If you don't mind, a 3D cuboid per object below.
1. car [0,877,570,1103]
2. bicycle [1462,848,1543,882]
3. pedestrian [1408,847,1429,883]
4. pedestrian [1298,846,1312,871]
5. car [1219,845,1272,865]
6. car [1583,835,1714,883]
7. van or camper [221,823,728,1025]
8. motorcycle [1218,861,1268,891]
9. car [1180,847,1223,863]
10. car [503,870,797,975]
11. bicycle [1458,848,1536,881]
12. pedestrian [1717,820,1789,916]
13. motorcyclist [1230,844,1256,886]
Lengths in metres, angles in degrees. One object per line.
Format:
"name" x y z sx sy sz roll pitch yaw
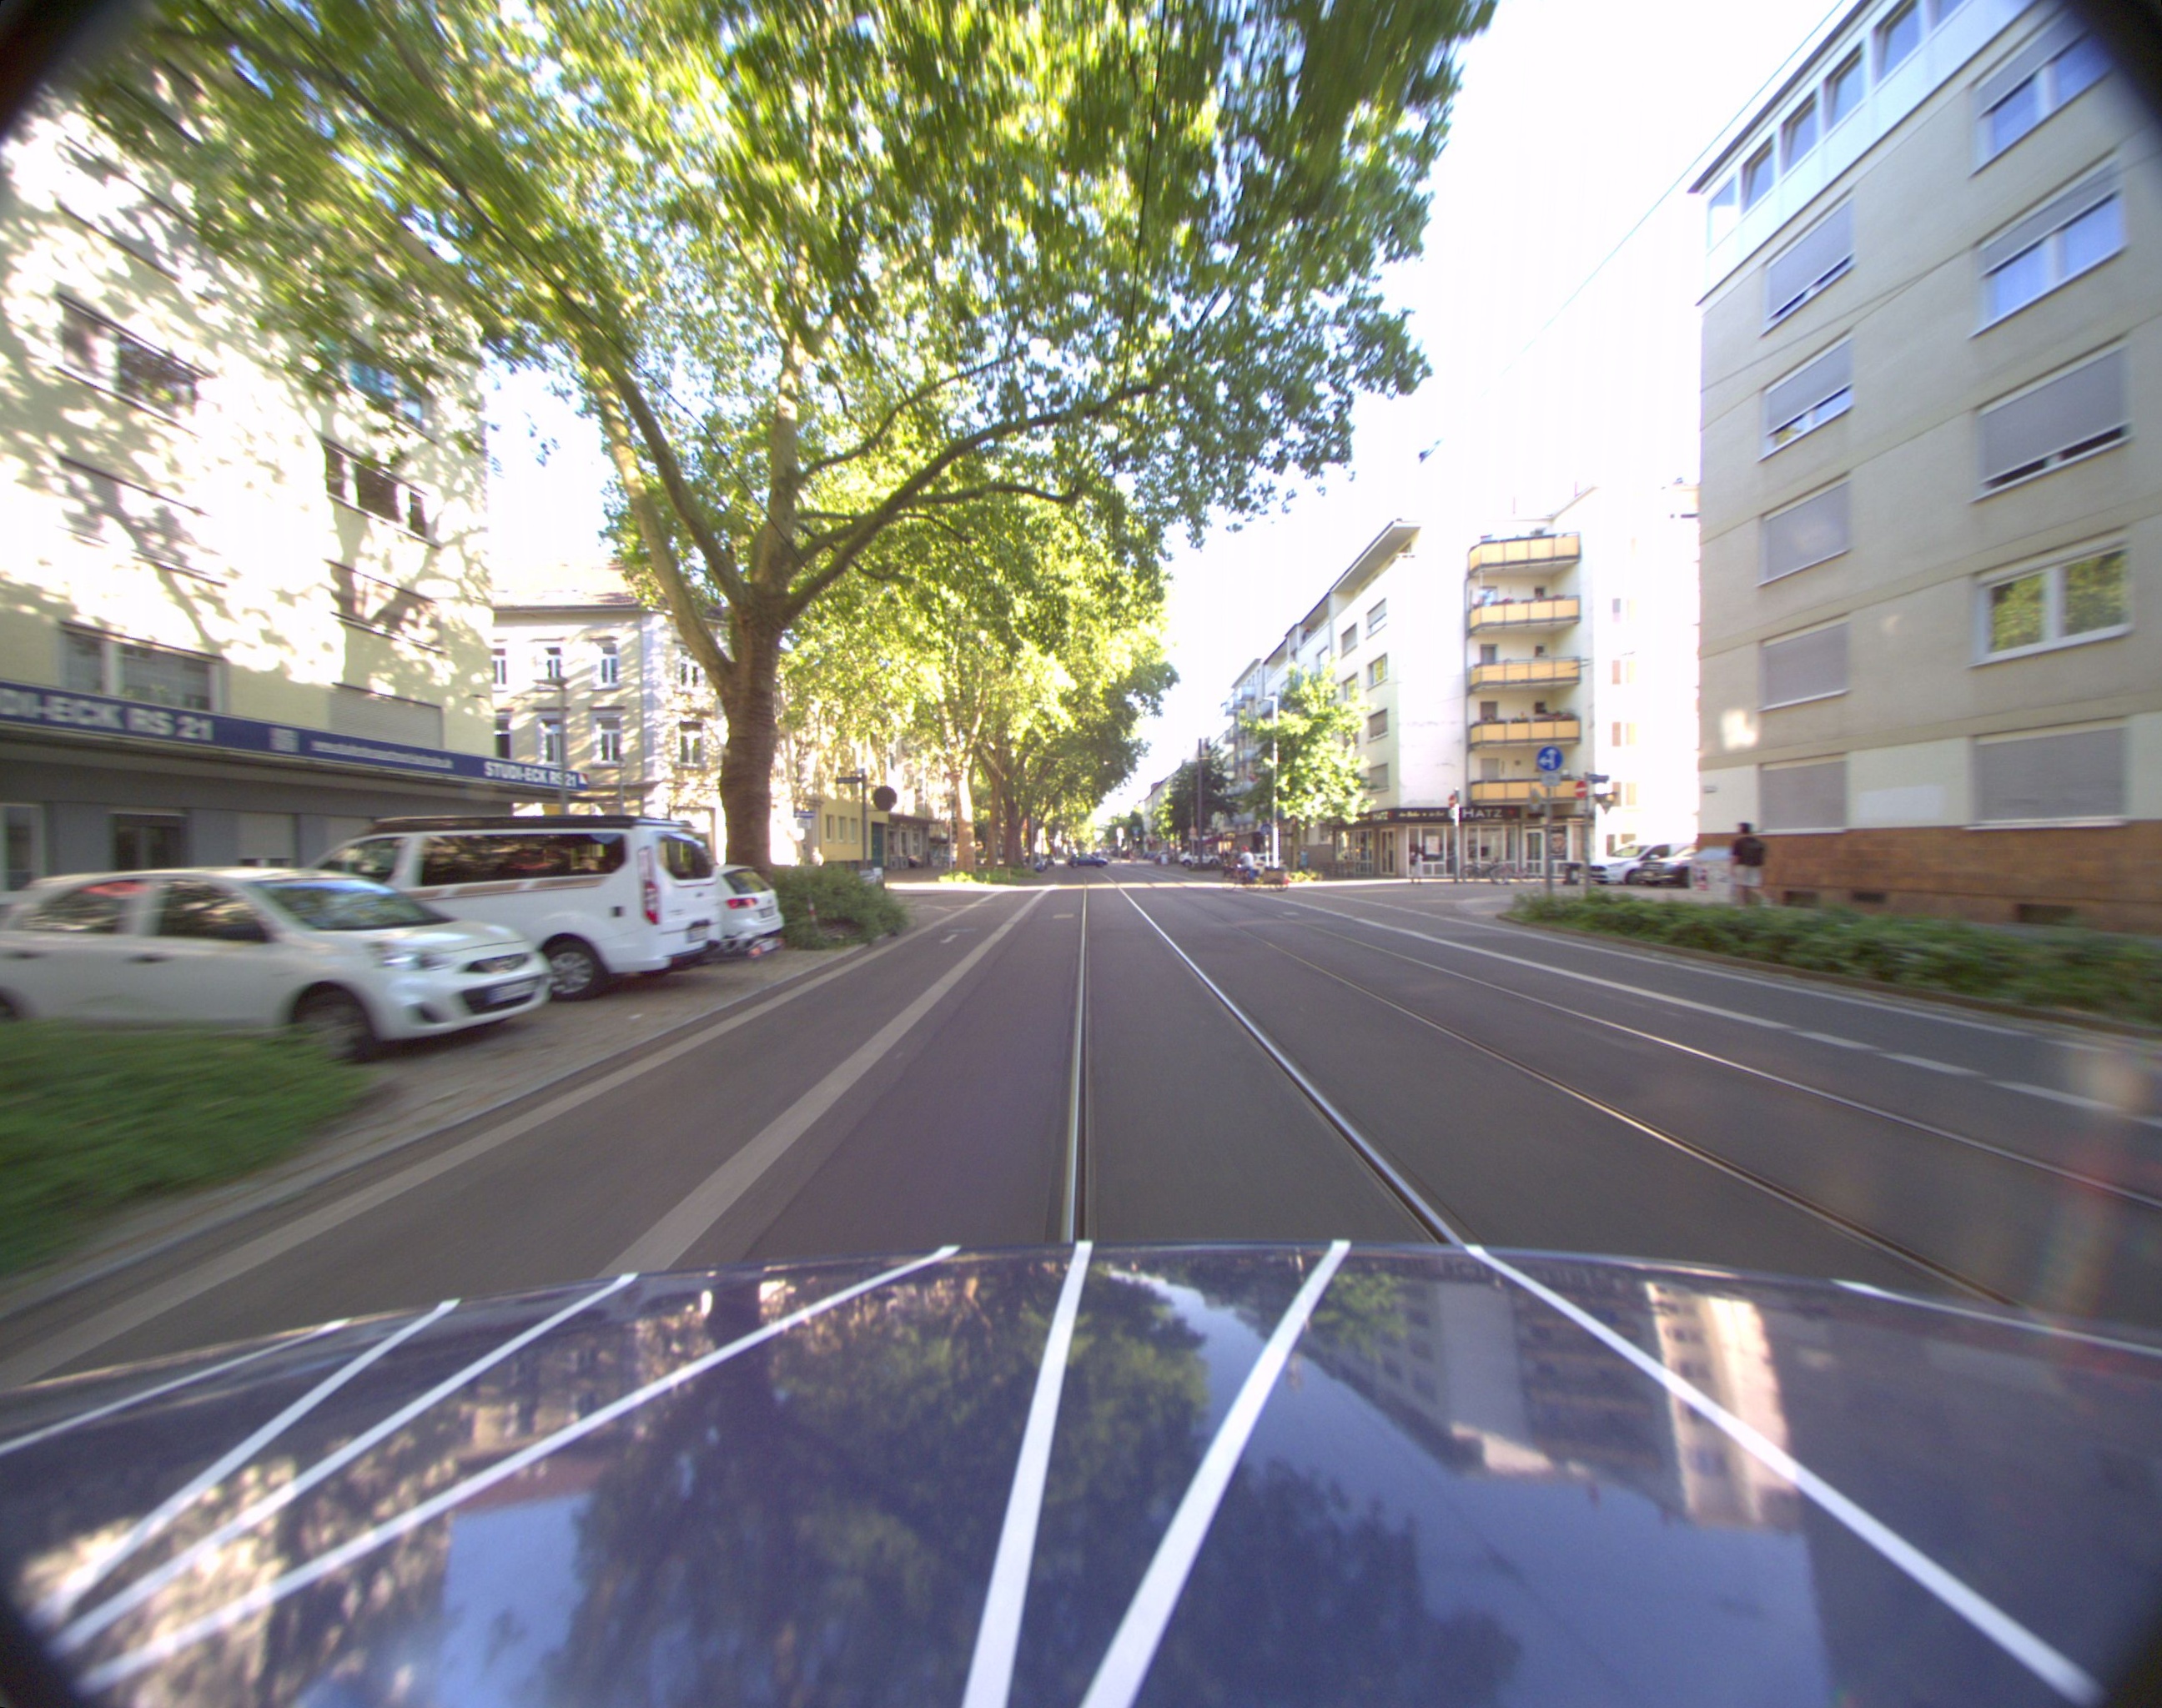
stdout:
"car" -6.653 1.018 6.354 3.572 1.522 1.677 -1 1 -1
"bicycle" 17.203 0.461 31.056 2.804 1.306 0.539 -2 1 20
"pedestrian" 14.322 0.472 32.242 0.595 1.496 0.656 -2 1 8
"pedestrian" 13.610 0.276 46.164 0.596 1.496 0.655 -2 1 1
"car" 13.025 0.072 60.415 3.953 1.515 1.587 -1 1 4
"car" 22.162 0.174 29.771 3.998 1.783 1.650 -1 1 -4
"van or camper" -6.828 0.723 8.991 4.388 2.098 1.838 -1 1 -3
"motorcycle" 6.237 0.848 29.366 1.827 1.112 0.591 0 1 43
"car" 11.714 0.065 74.113 3.953 1.515 1.587 -1 1 4
"car" -6.531 1.012 11.776 3.570 1.431 1.726 -1 1 4
"bicycle" 17.327 0.450 31.722 2.804 1.306 0.539 -2 1 20
"pedestrian" 13.762 0.284 15.585 0.773 1.888 0.799 -2 1 8
"motorcyclist" 6.262 0.424 29.317 0.754 1.609 0.590 0 1 42
